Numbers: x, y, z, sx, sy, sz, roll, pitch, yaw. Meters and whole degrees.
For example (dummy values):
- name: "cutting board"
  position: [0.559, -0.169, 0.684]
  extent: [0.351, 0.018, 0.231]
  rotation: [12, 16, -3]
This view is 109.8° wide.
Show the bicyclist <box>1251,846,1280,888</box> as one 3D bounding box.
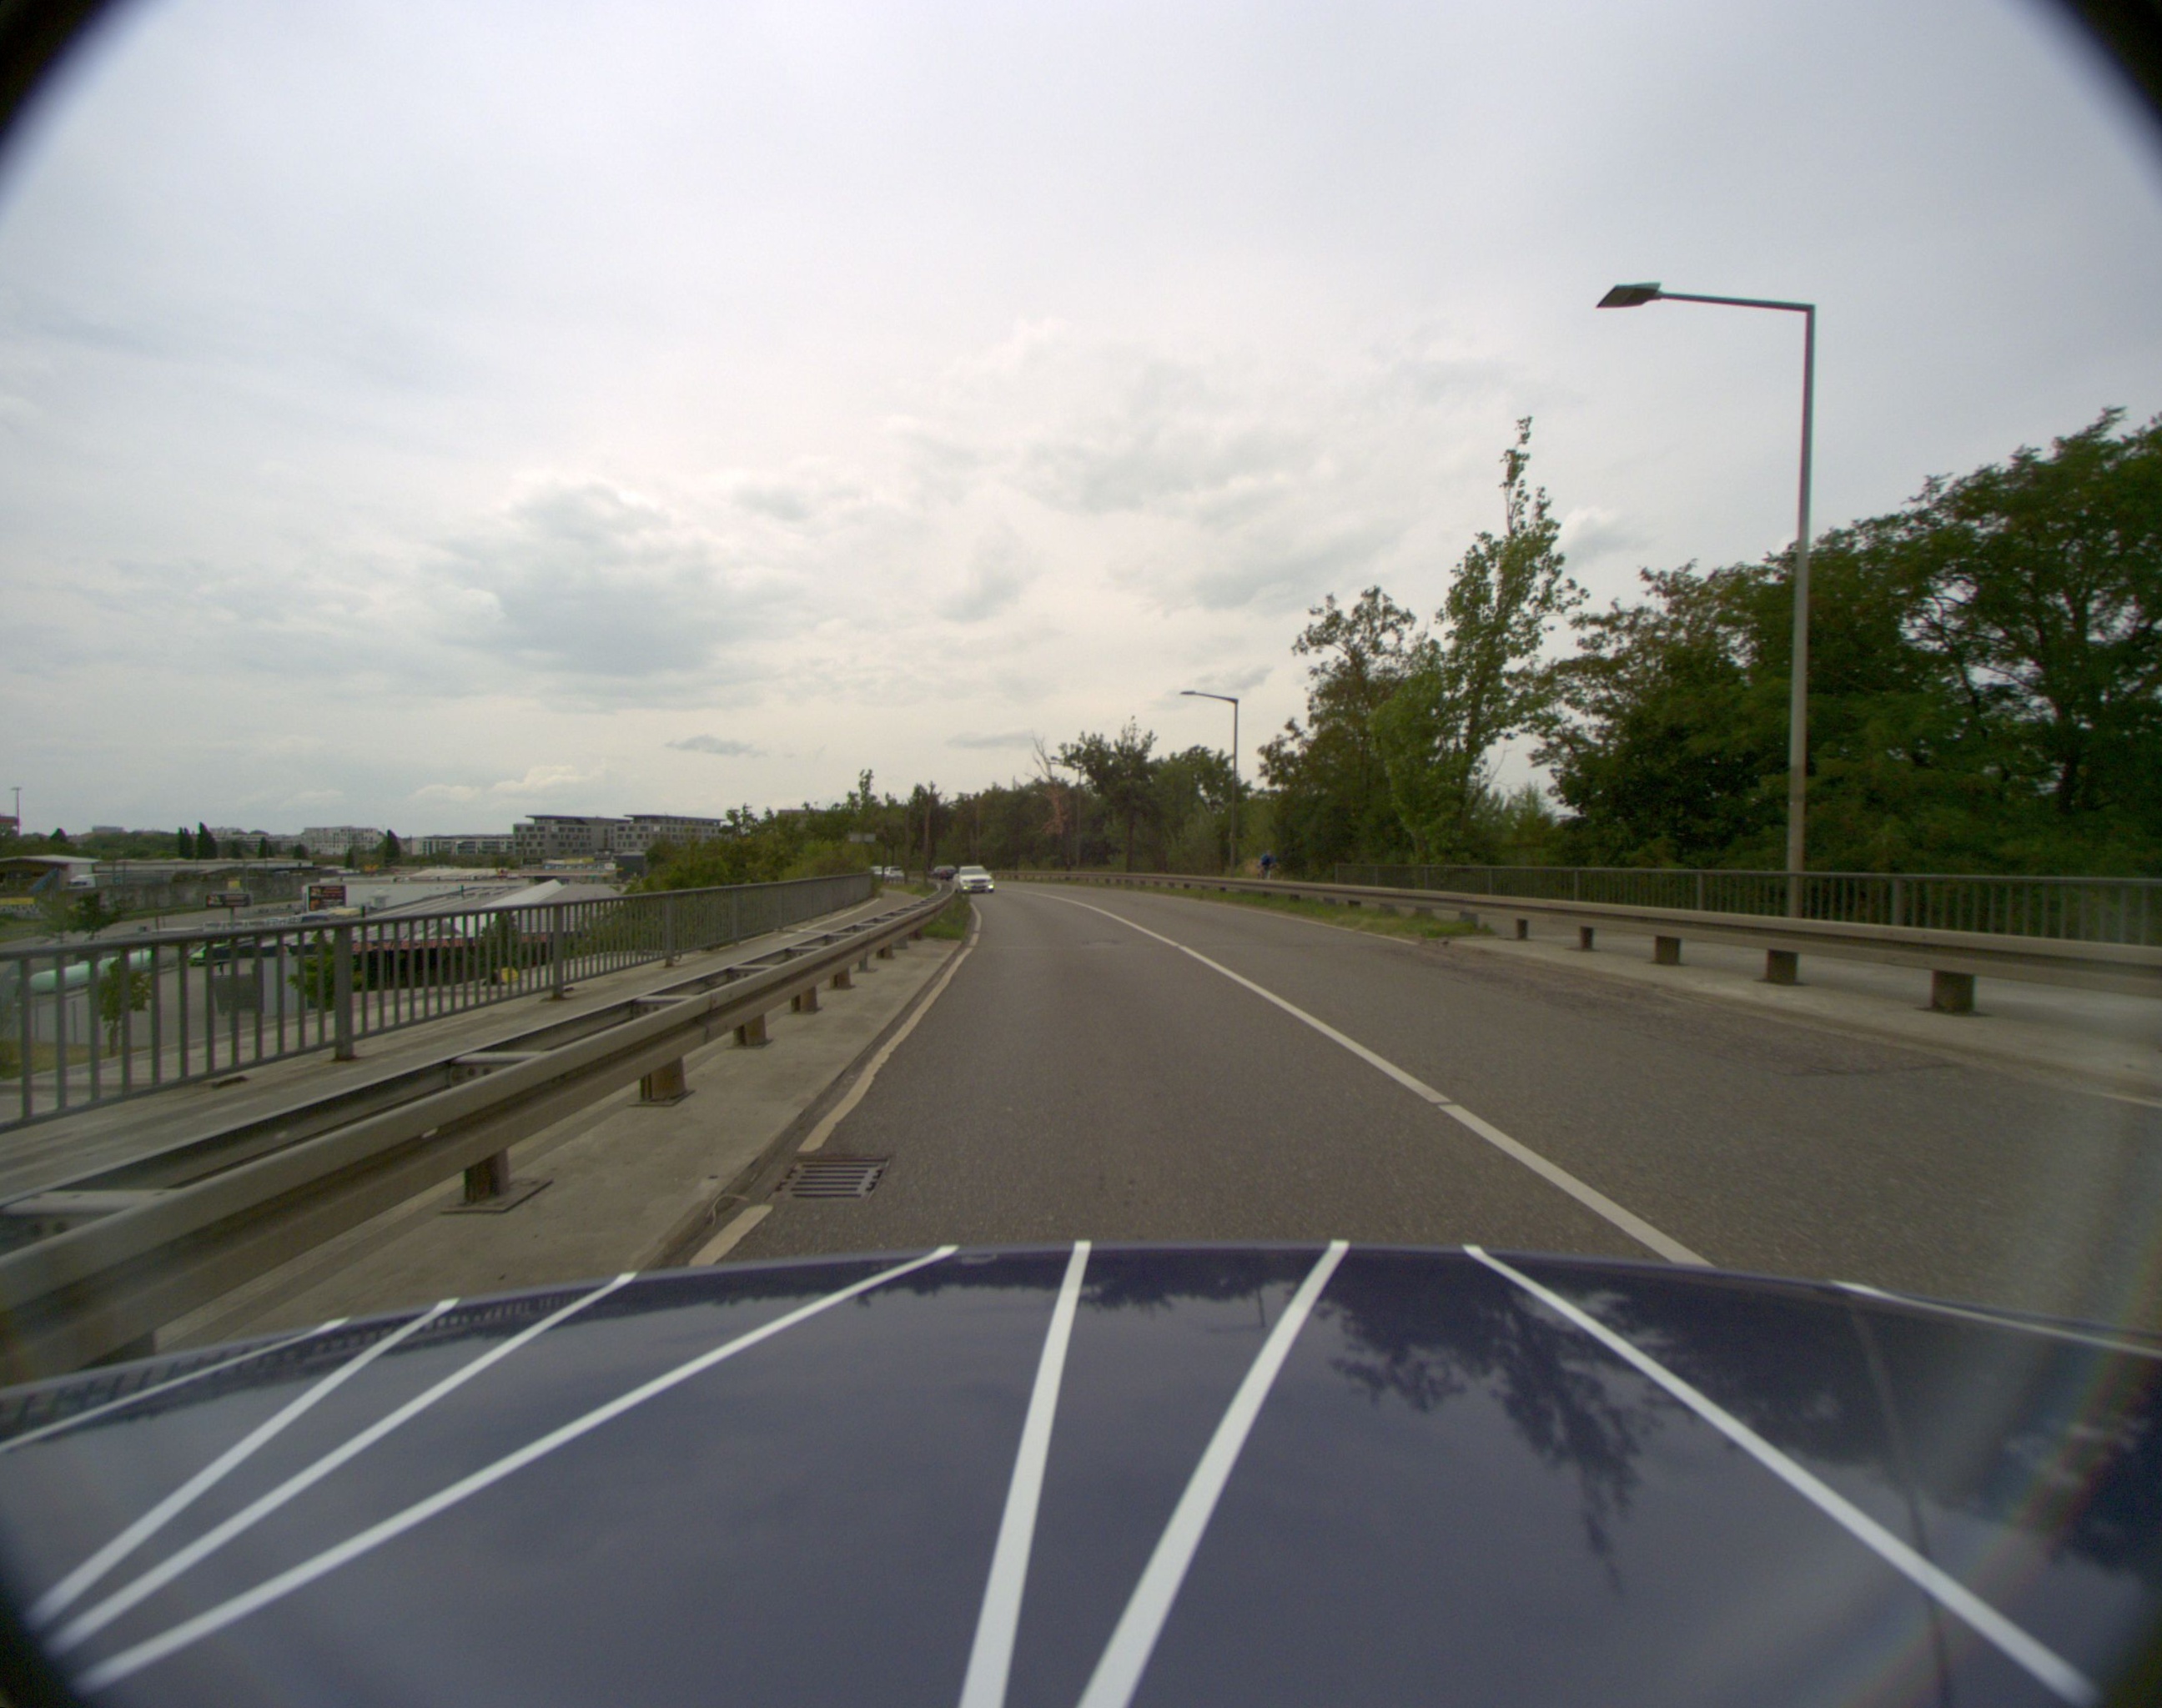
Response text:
- name: "bicyclist"
  position: [6.556, 0.446, 27.015]
  extent: [0.713, 1.436, 0.747]
  rotation: [-2, 0, -11]

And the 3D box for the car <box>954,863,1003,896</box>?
- name: "car"
  position: [-5.608, 1.327, 41.119]
  extent: [1.939, 1.449, 3.880]
  rotation: [-5, 2, -16]

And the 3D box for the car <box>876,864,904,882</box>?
- name: "car"
  position: [-19.270, 1.875, 76.568]
  extent: [1.966, 1.694, 4.424]
  rotation: [-2, 0, -25]

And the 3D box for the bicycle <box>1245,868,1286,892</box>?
- name: "bicycle"
  position: [6.549, 0.918, 27.078]
  extent: [0.694, 0.793, 1.891]
  rotation: [-2, 0, -11]

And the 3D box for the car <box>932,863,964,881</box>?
- name: "car"
  position: [-12.189, 1.610, 69.539]
  extent: [1.712, 1.487, 4.319]
  rotation: [-3, 0, -25]

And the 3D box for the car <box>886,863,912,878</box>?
- name: "car"
  position: [-20.236, 1.818, 84.291]
  extent: [1.814, 1.512, 4.424]
  rotation: [-2, 0, -25]
